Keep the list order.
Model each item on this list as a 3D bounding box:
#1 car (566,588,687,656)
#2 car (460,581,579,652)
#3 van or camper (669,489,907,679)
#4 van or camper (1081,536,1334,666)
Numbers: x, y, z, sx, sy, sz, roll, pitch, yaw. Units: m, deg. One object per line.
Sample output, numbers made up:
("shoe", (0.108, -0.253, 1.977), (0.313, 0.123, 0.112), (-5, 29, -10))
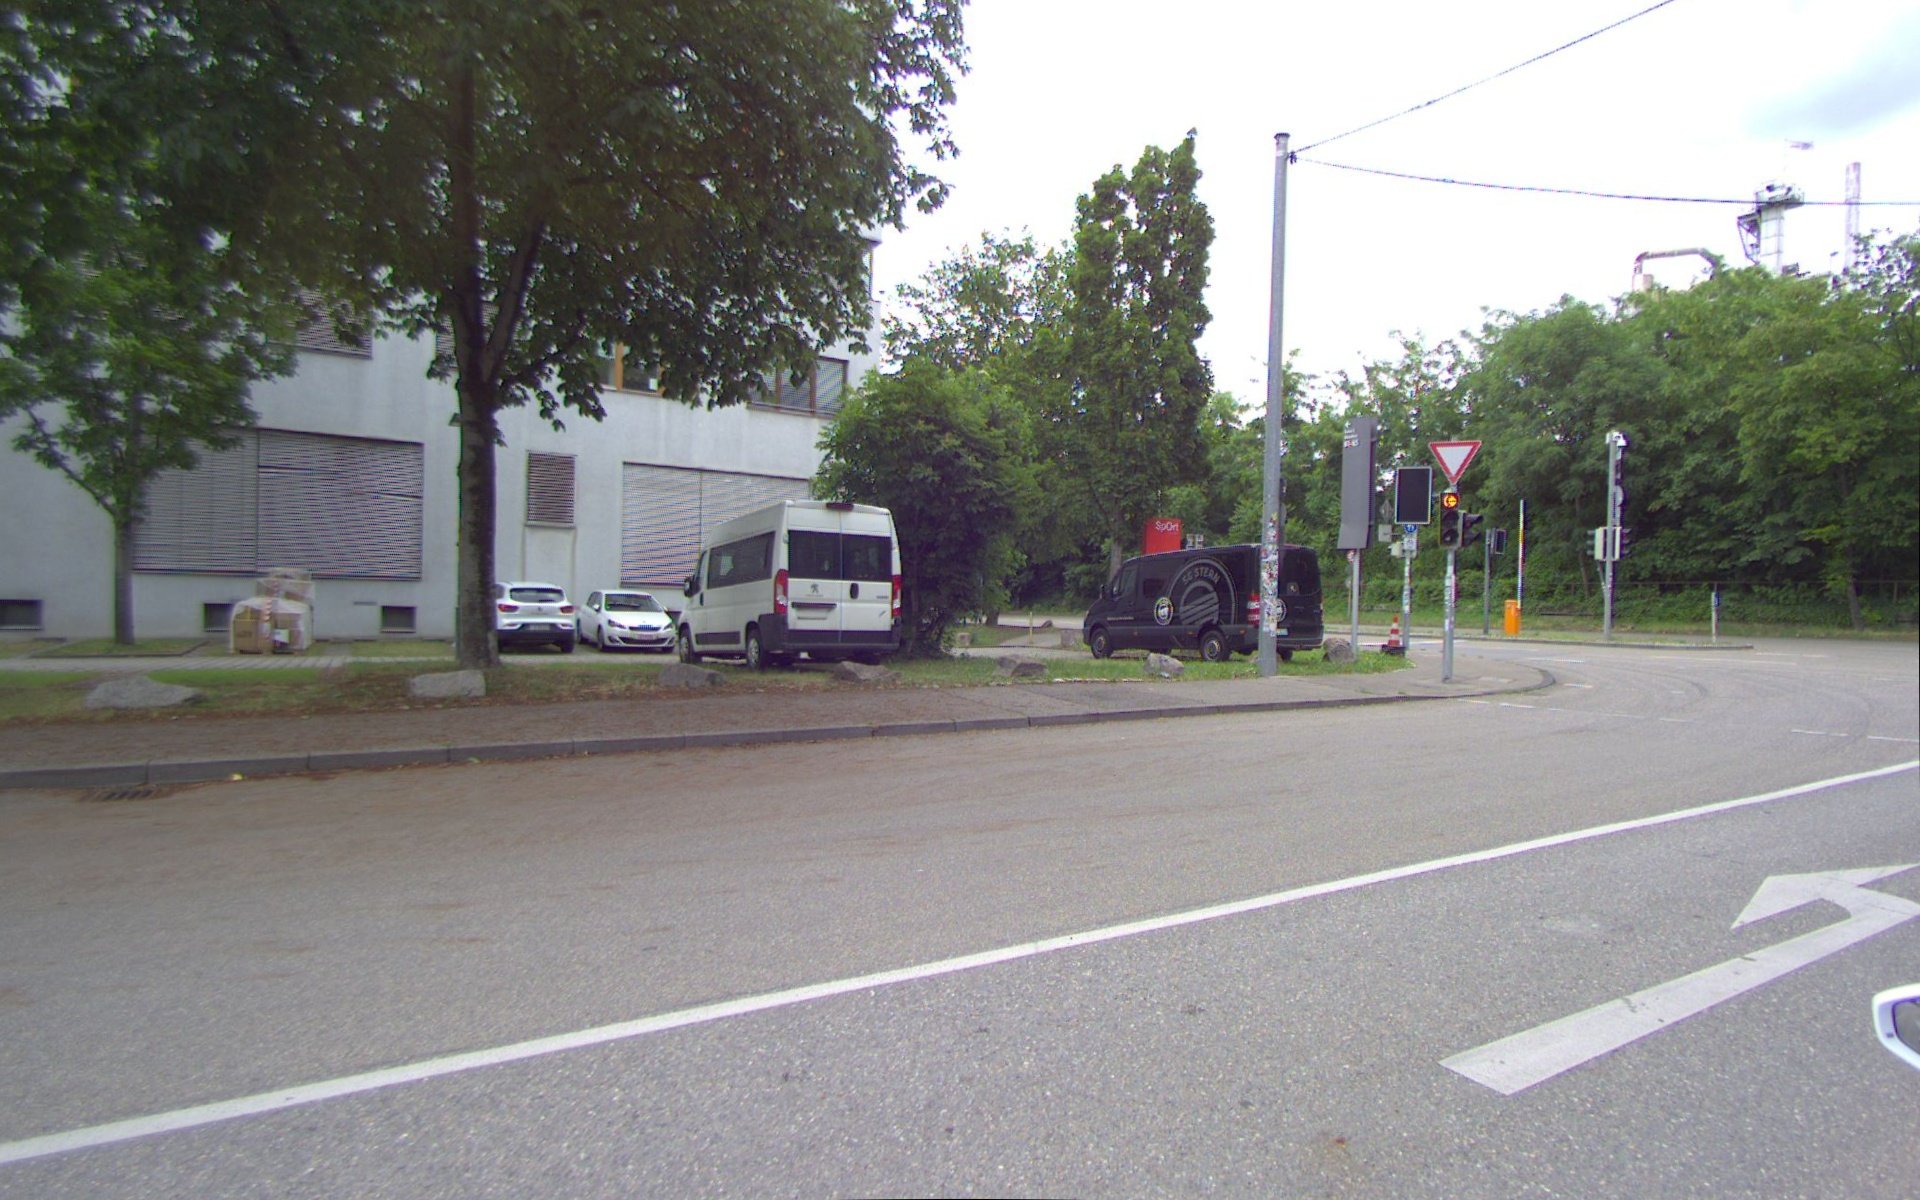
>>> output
("car", (-8.547, 0.522, 25.551), (1.881, 1.475, 3.972), (3, 0, -34))
("car", (-10.581, 0.357, 23.976), (1.881, 1.475, 3.972), (3, 0, -34))
("van or camper", (-2.998, -0.240, 16.431), (2.039, 2.604, 4.943), (3, 0, -32))
("van or camper", (5.003, 0.124, 21.256), (2.036, 2.343, 5.513), (3, -3, -28))
